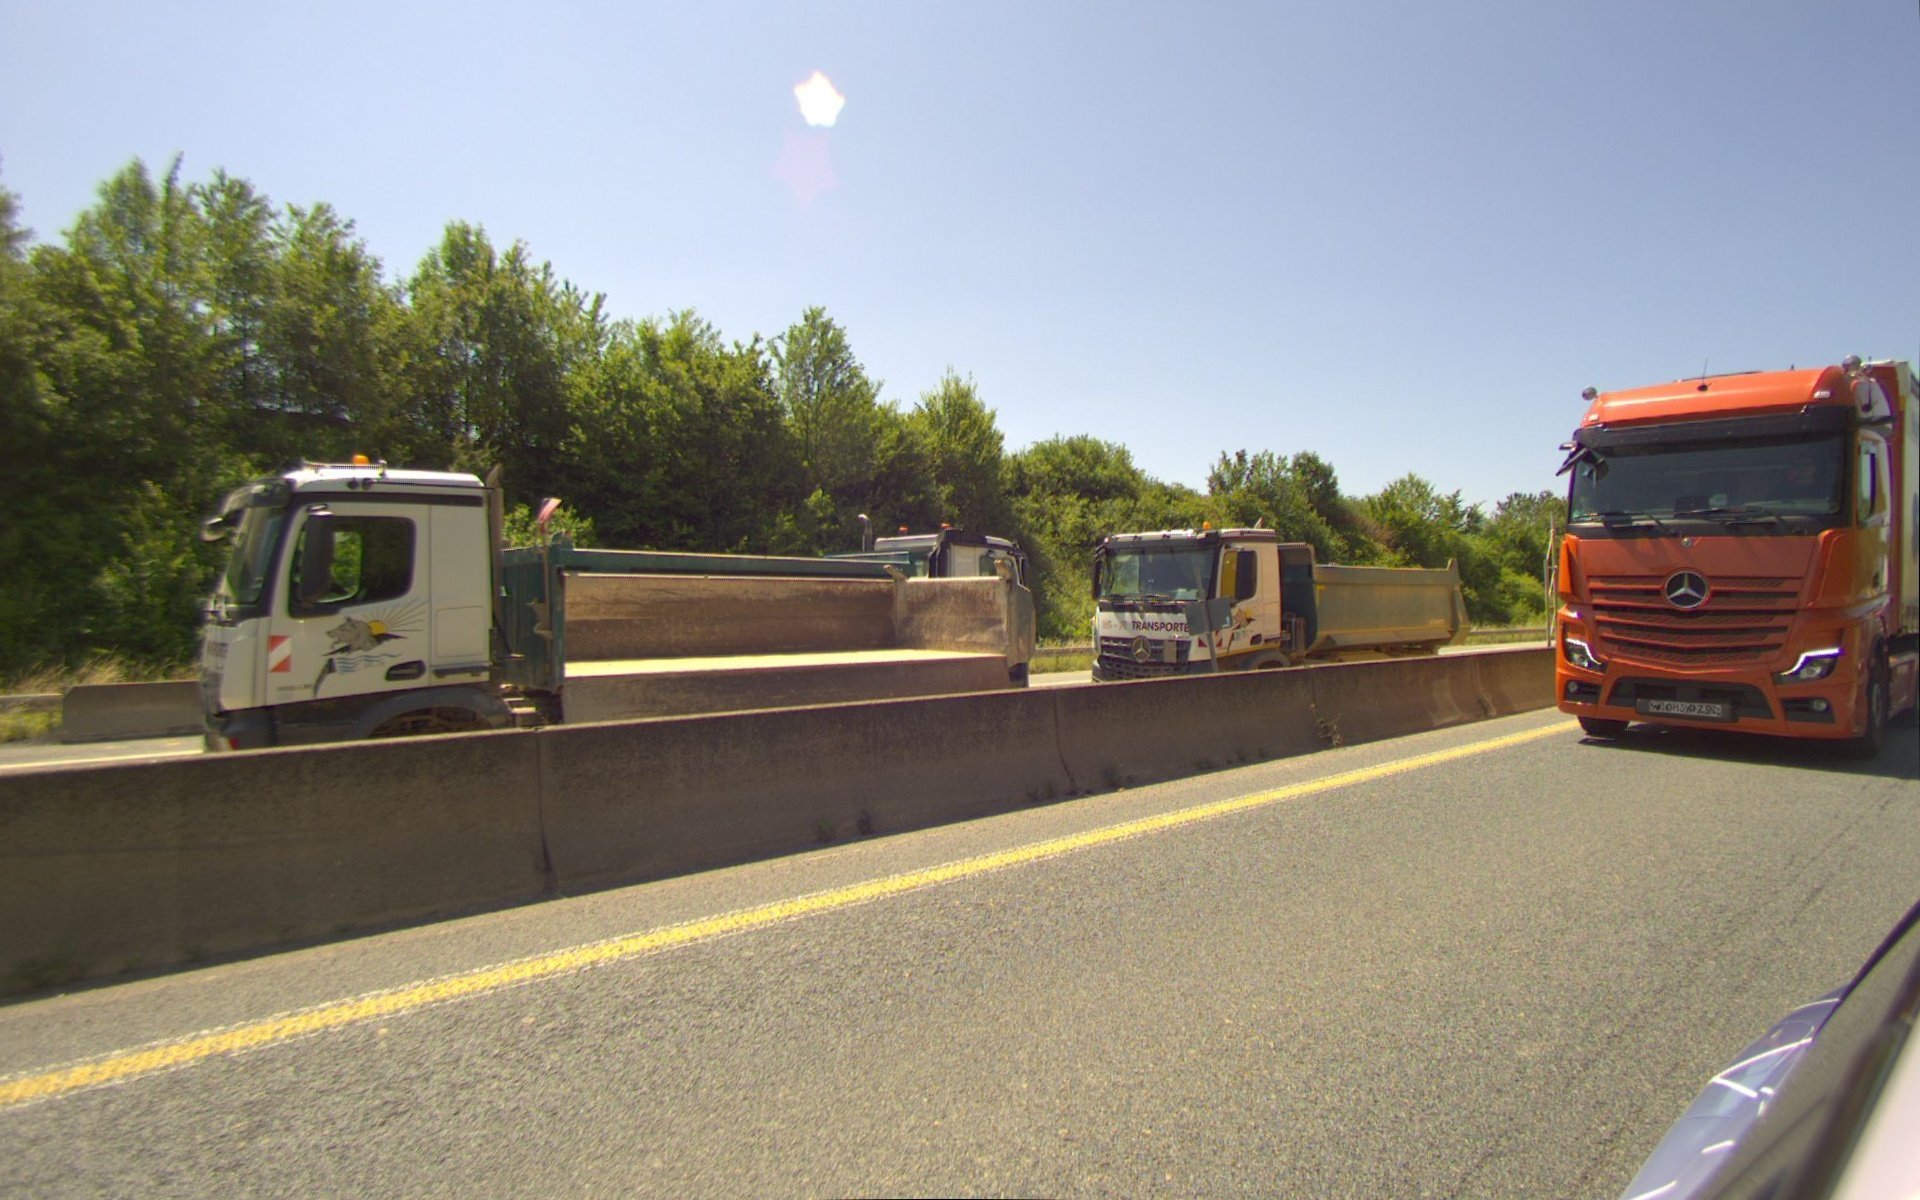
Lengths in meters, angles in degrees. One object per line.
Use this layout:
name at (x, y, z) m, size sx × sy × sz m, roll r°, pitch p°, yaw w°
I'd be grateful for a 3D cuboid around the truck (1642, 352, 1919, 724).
truck at (14.583, -0.734, 16.234) m, size 12.987 × 4.061 × 2.687 m, roll -1°, pitch 0°, yaw -41°

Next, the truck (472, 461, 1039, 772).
truck at (-2.620, 0.176, 15.347) m, size 8.235 × 3.556 × 2.691 m, roll 0°, pitch 0°, yaw -42°

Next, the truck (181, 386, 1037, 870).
truck at (-3.092, 0.193, 11.339) m, size 8.790 × 3.556 × 2.537 m, roll 0°, pitch 0°, yaw -42°

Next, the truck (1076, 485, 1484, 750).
truck at (5.933, 0.227, 17.506) m, size 8.939 × 3.556 × 2.537 m, roll 0°, pitch 0°, yaw -42°

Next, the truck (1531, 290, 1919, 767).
truck at (9.428, -0.641, 11.790) m, size 6.607 × 4.061 × 2.687 m, roll -1°, pitch 0°, yaw -40°
